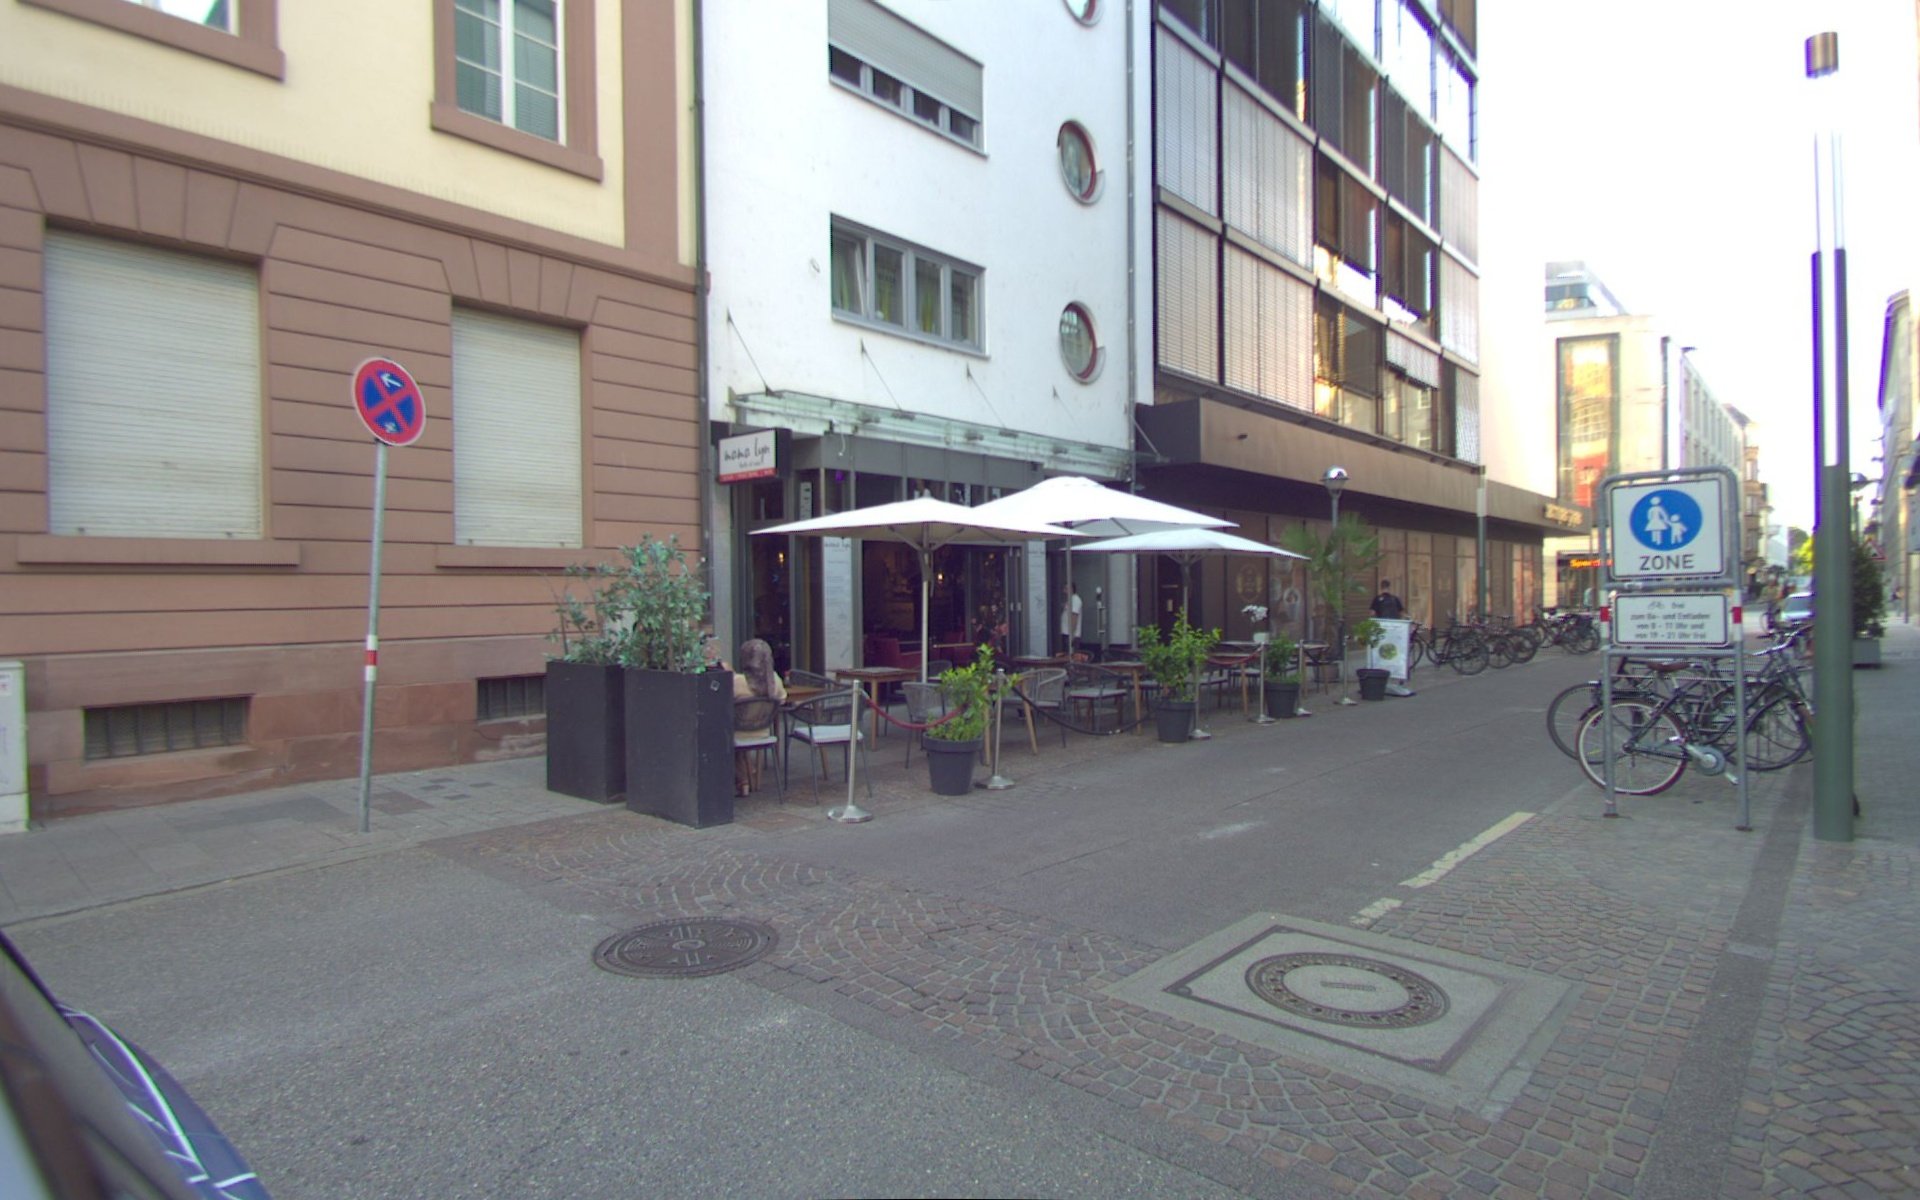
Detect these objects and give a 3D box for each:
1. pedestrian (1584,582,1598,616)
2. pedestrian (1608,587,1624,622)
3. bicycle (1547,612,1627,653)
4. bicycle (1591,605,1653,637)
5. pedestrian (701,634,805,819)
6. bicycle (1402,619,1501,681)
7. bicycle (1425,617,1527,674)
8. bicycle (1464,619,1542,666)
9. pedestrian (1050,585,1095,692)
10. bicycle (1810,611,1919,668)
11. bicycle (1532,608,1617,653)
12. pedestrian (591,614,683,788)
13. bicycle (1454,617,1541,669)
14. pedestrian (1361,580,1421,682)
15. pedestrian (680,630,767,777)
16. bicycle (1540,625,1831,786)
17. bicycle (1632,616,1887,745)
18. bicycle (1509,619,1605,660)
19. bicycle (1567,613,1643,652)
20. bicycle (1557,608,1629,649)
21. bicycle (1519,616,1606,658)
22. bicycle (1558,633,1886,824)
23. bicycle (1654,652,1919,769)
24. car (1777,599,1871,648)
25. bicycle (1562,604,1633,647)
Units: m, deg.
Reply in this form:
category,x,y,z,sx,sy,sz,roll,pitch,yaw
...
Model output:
category,x,y,z,sx,sy,sz,roll,pitch,yaw
pedestrian,28.704,-0.041,46.043,0.476,1.564,0.431,-1,0,26
pedestrian,29.719,0.204,45.841,0.470,1.584,0.380,-1,0,-9
bicycle,17.017,0.876,27.502,1.776,1.059,0.459,-1,0,41
bicycle,22.830,0.728,34.922,1.733,1.069,0.431,-1,0,41
pedestrian,-1.466,0.865,7.181,0.461,1.221,0.554,-1,0,44
bicycle,9.062,0.902,18.682,1.542,1.093,0.541,-1,0,41
bicycle,10.300,0.887,20.245,1.727,1.100,0.541,-1,0,41
bicycle,12.143,0.934,22.652,1.455,1.013,0.459,-1,0,41
pedestrian,1.819,0.611,16.334,0.619,1.678,0.667,-1,0,15
bicycle,16.923,0.728,18.740,1.793,1.022,0.363,-2,-1,41
bicycle,16.131,0.794,26.584,1.848,1.144,0.459,-1,0,41
pedestrian,-2.651,0.796,8.300,0.489,1.359,0.541,-1,0,44
bicycle,11.444,0.900,21.568,1.555,1.045,0.459,-1,0,41
pedestrian,7.831,0.553,18.429,0.731,1.798,0.966,-1,0,7
pedestrian,-2.079,0.880,8.902,0.524,1.220,0.541,-1,0,44
bicycle,5.850,0.809,8.242,1.841,1.159,0.601,-3,-2,41
bicycle,7.862,0.762,10.039,1.910,1.153,0.549,-2,-1,41
bicycle,14.451,0.940,24.539,1.944,0.964,0.459,-1,0,41
bicycle,17.965,0.887,28.201,1.733,1.059,0.459,-1,0,41
bicycle,18.486,0.822,29.571,1.733,1.154,0.459,-1,0,41
bicycle,15.169,0.911,25.505,1.794,1.016,0.524,-1,0,41
bicycle,5.109,0.808,6.872,1.673,1.122,0.700,-3,-2,41
bicycle,7.125,0.916,8.749,1.792,0.902,0.448,-3,-2,41
car,23.950,0.619,28.017,3.434,1.231,1.630,-1,0,-43
bicycle,19.026,0.757,30.216,1.733,1.238,0.459,-1,0,41
